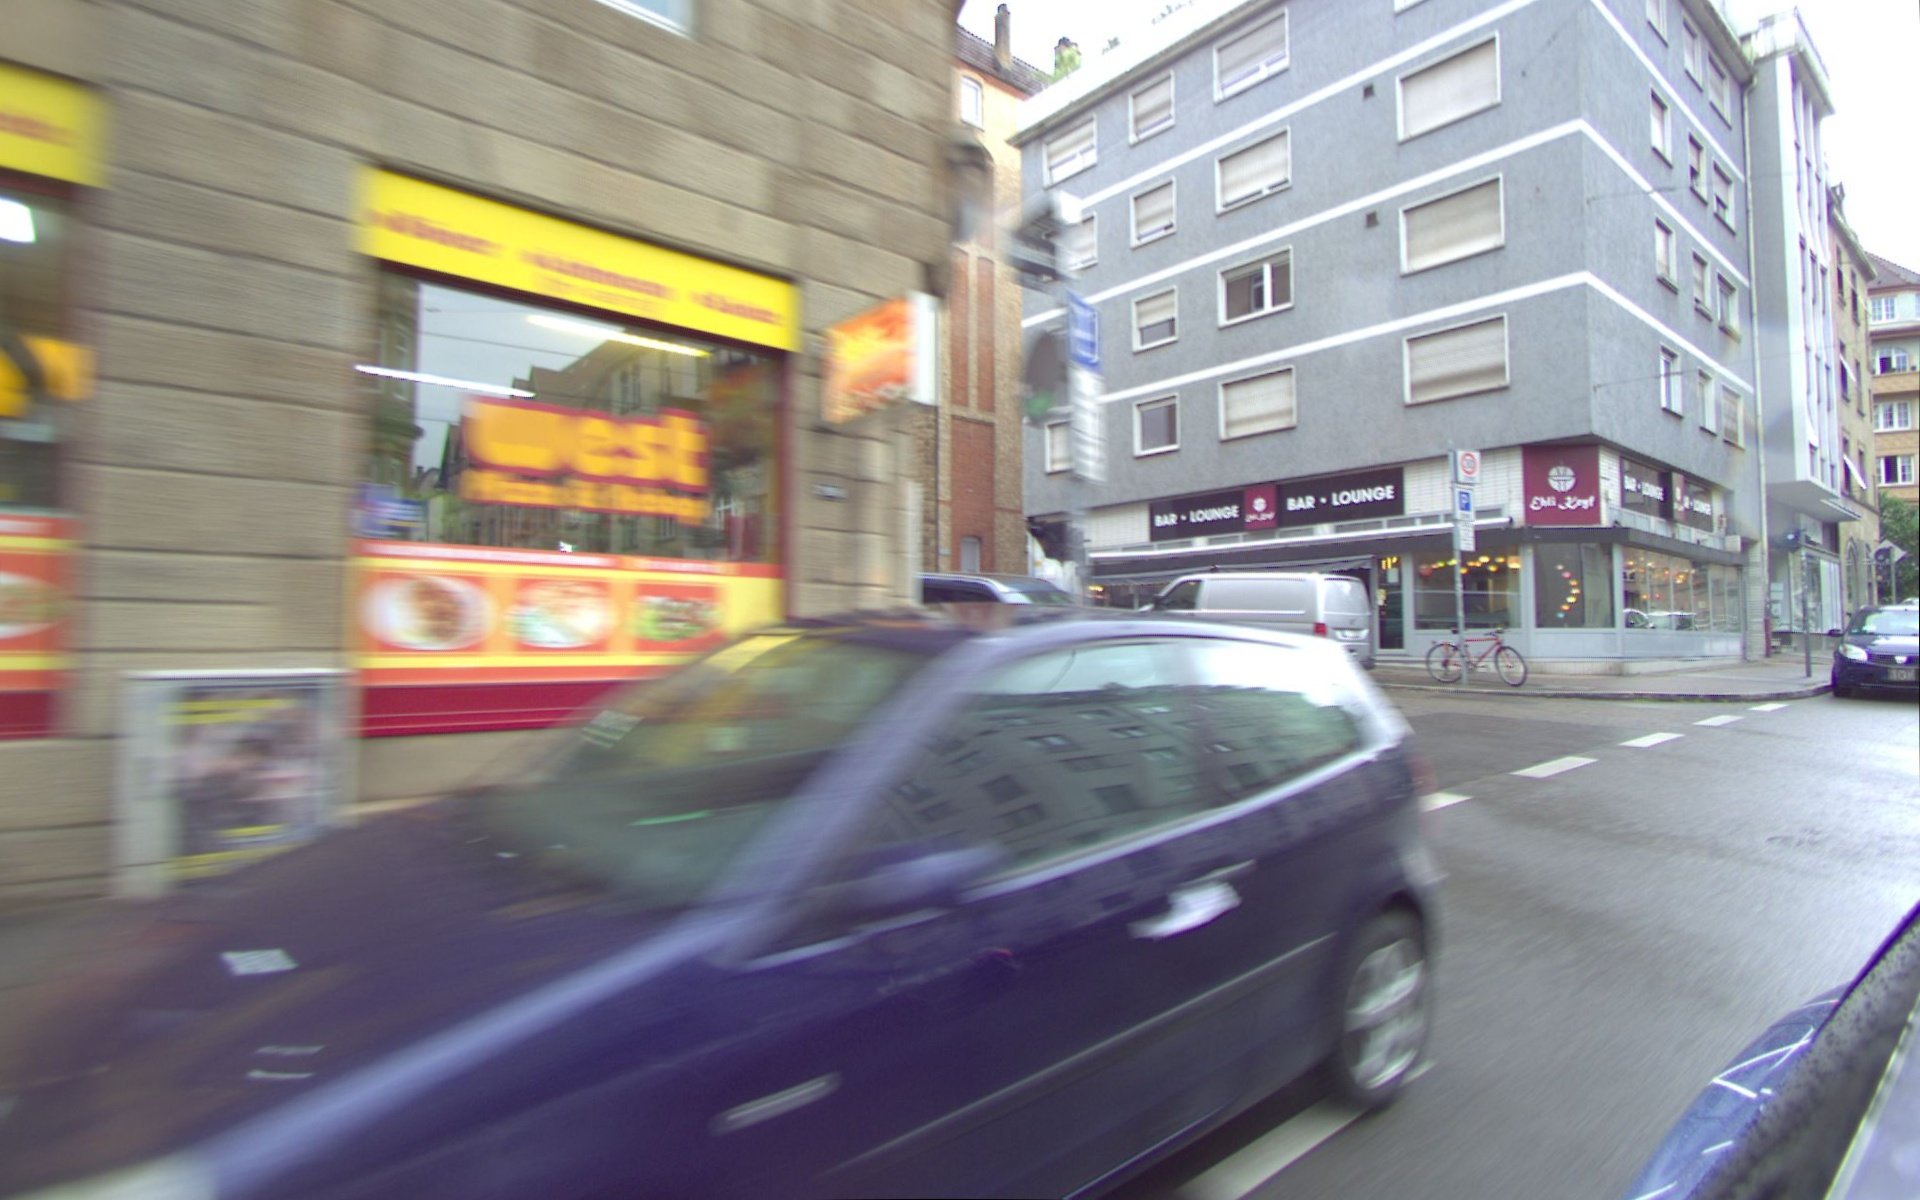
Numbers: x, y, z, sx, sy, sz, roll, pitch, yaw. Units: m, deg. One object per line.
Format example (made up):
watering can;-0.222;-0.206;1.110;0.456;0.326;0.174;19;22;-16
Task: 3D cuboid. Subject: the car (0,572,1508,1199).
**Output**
car;-0.183;0.698;2.724;3.723;1.462;1.674;0;0;-40

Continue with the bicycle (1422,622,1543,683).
bicycle;8.893;0.874;17.285;0.523;0.986;1.752;0;-2;-39

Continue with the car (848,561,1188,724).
car;0.617;0.420;14.135;1.965;1.885;4.787;0;1;-41

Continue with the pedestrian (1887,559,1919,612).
pedestrian;33.921;-0.519;36.327;0.832;1.840;0.852;1;0;-40

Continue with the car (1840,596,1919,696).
car;15.898;0.705;16.792;3.866;1.501;1.692;0;0;-45

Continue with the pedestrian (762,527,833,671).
pedestrian;-2.372;-0.001;14.761;0.743;2.039;0.627;3;-2;-39

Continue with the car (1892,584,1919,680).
car;19.837;0.588;19.853;4.487;1.783;1.795;0;-1;-41

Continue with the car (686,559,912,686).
car;-3.067;0.253;18.413;1.965;1.949;4.716;-2;4;-39
